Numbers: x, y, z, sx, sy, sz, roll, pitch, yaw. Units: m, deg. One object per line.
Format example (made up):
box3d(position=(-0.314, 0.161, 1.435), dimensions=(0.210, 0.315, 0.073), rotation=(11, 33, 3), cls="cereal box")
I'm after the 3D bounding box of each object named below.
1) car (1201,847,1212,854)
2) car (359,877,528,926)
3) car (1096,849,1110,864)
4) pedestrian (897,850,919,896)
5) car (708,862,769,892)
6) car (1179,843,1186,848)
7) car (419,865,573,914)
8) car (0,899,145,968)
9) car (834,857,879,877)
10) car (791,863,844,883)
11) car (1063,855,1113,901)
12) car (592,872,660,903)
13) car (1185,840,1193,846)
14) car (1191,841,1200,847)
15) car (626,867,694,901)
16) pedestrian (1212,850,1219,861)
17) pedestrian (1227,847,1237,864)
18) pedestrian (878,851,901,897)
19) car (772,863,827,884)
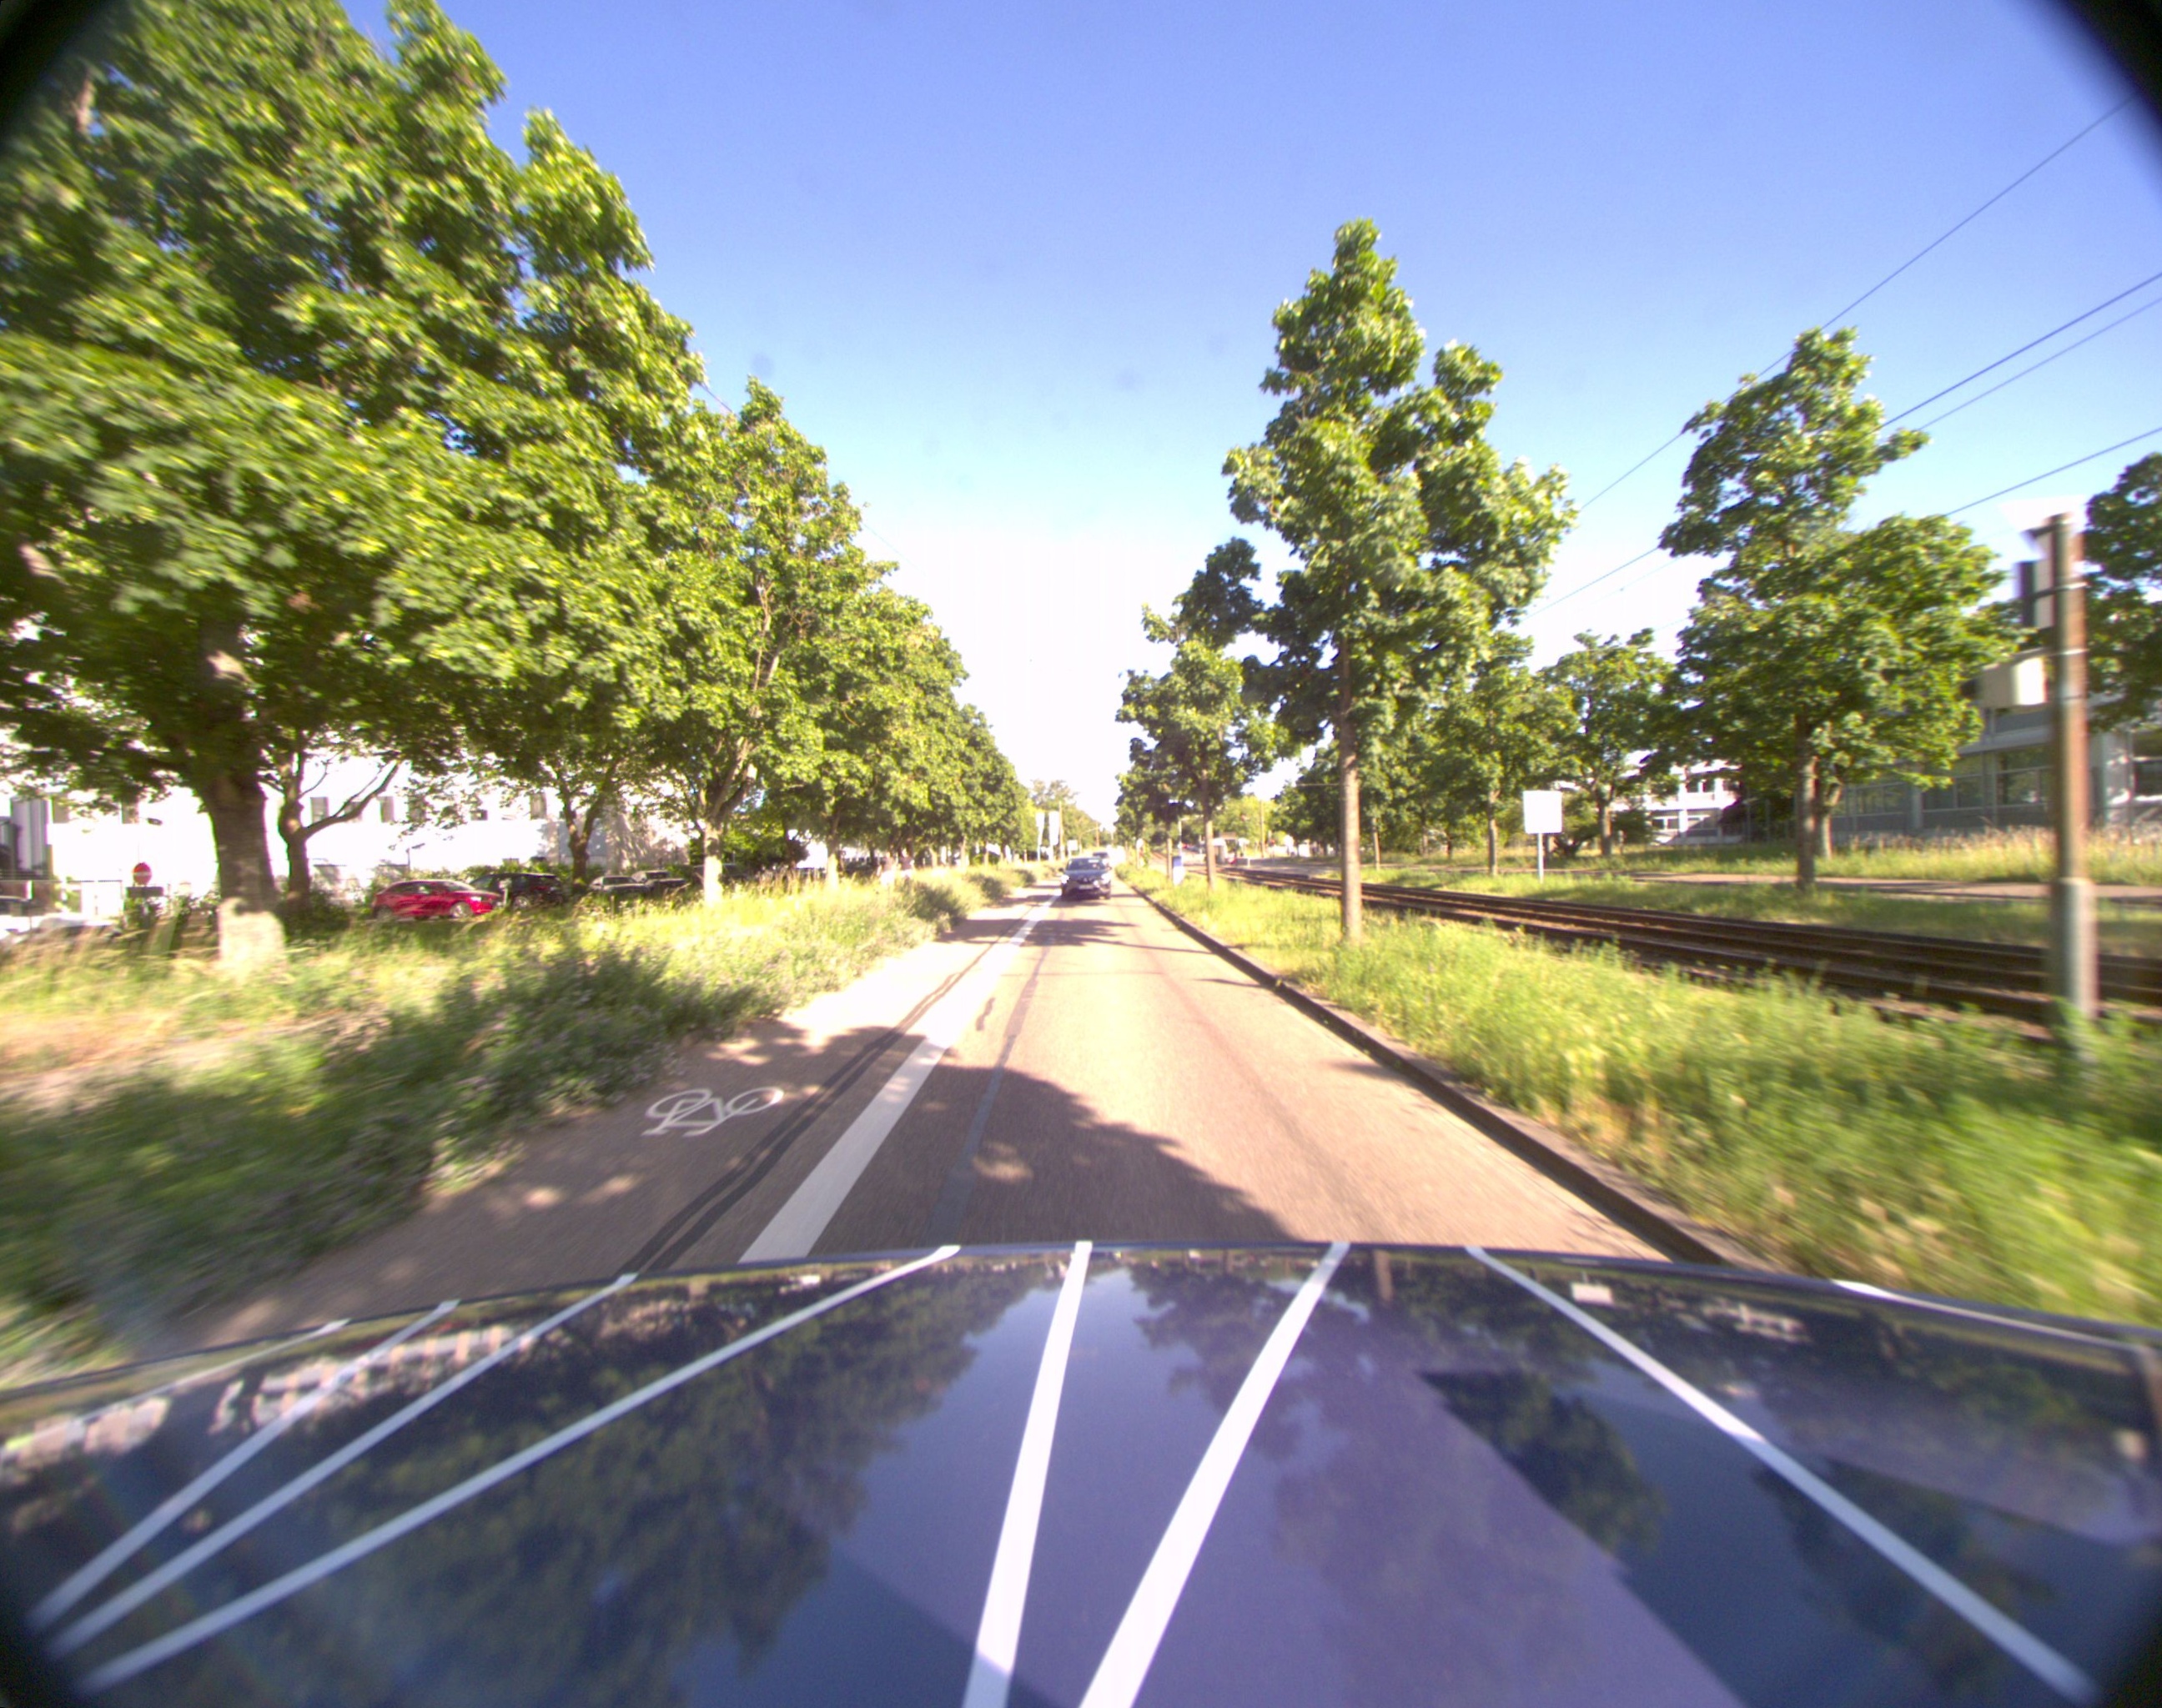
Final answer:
box3d(position=(28.234, -0.774, 171.215), dimensions=(1.771, 1.575, 3.456), rotation=(-1, 0, 0), cls="car")
box3d(position=(-22.431, 1.635, 26.911), dimensions=(4.244, 1.527, 1.765), rotation=(-1, 0, -9), cls="car")
box3d(position=(2.560, 0.293, 90.511), dimensions=(1.555, 1.764, 3.456), rotation=(-1, 0, 0), cls="car")
box3d(position=(-7.431, 0.816, 32.668), dimensions=(0.709, 1.906, 0.816), rotation=(-2, 1, -1), cls="pedestrian")
box3d(position=(-21.955, 1.449, 48.593), dimensions=(1.923, 1.741, 5.442), rotation=(-3, 0, -42), cls="car")
box3d(position=(30.662, -2.501, 230.230), dimensions=(1.701, 1.575, 3.456), rotation=(-1, 0, 0), cls="car")
box3d(position=(-22.365, 1.314, 29.213), dimensions=(4.349, 1.690, 1.765), rotation=(-1, 0, -9), cls="car")
box3d(position=(-22.706, 1.634, 15.558), dimensions=(4.710, 1.263, 1.807), rotation=(-1, -1, -2), cls="car")
box3d(position=(-22.050, 1.292, 74.437), dimensions=(2.084, 1.865, 5.172), rotation=(-3, 0, -43), cls="car")
box3d(position=(-21.914, 1.590, 63.060), dimensions=(4.537, 1.440, 1.851), rotation=(-2, 0, 37), cls="car")
box3d(position=(0.263, 0.848, 29.235), dimensions=(1.750, 1.585, 4.246), rotation=(0, 1, 0), cls="car")
box3d(position=(-21.834, 1.600, 36.384), dimensions=(3.976, 1.333, 1.712), rotation=(-2, 0, 43), cls="car")
box3d(position=(29.722, -2.937, 209.295), dimensions=(1.701, 1.575, 3.456), rotation=(-1, 0, 0), cls="car")
box3d(position=(29.597, -2.584, 196.372), dimensions=(1.701, 1.575, 3.456), rotation=(-1, 0, 0), cls="car")
box3d(position=(-22.109, 1.543, 39.862), dimensions=(3.976, 1.629, 1.727), rotation=(-2, 0, 40), cls="car")
box3d(position=(16.314, 0.173, 92.163), dimensions=(0.650, 1.241, 0.681), rotation=(0, 0, -7), cls="pedestrian")
box3d(position=(15.380, 0.154, 77.525), dimensions=(0.786, 1.741, 0.781), rotation=(-2, 1, 1), cls="pedestrian")
box3d(position=(-8.227, 0.855, 32.690), dimensions=(0.709, 1.919, 0.816), rotation=(-2, 1, -1), cls="pedestrian")
box3d(position=(-22.183, 1.570, 59.802), dimensions=(4.537, 1.506, 1.851), rotation=(-2, 0, 37), cls="car")
